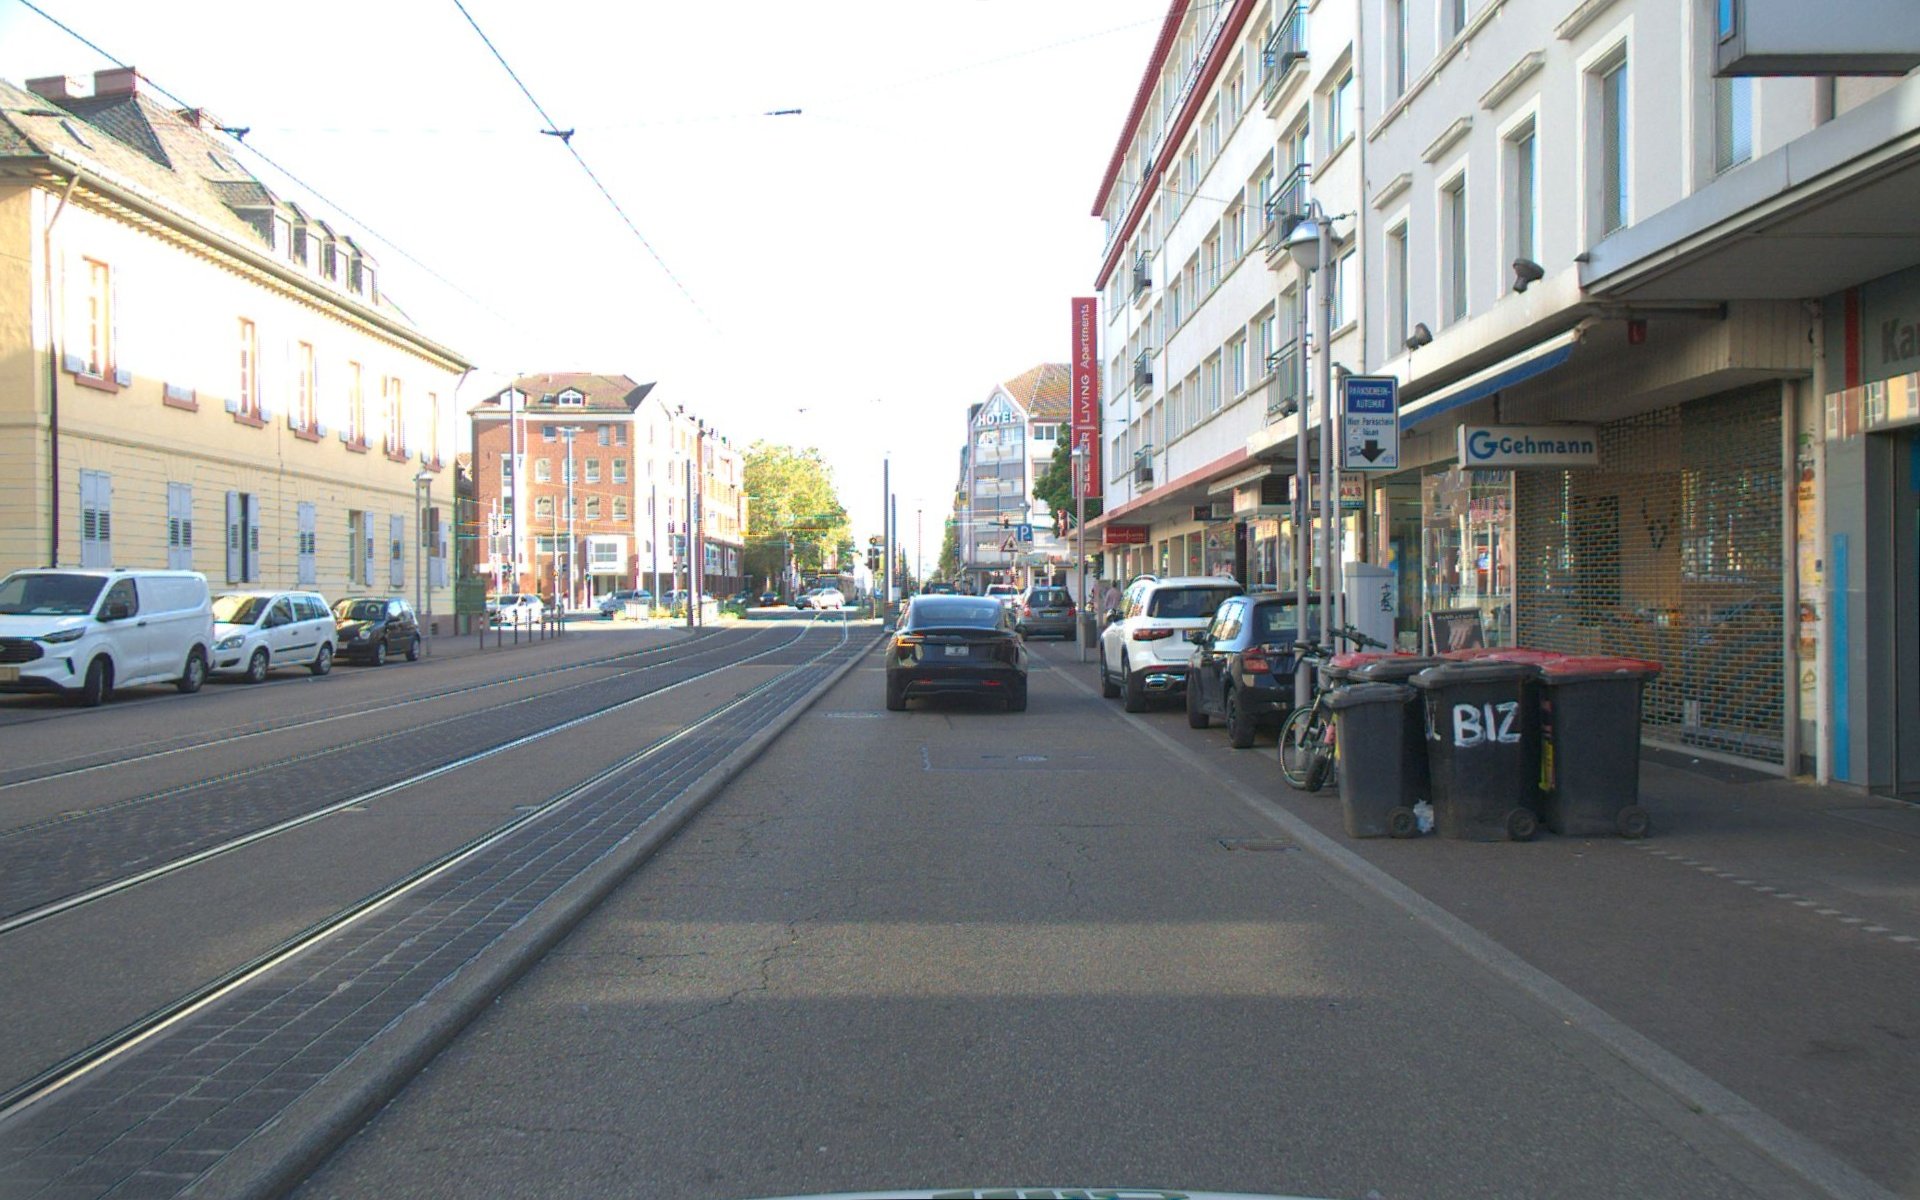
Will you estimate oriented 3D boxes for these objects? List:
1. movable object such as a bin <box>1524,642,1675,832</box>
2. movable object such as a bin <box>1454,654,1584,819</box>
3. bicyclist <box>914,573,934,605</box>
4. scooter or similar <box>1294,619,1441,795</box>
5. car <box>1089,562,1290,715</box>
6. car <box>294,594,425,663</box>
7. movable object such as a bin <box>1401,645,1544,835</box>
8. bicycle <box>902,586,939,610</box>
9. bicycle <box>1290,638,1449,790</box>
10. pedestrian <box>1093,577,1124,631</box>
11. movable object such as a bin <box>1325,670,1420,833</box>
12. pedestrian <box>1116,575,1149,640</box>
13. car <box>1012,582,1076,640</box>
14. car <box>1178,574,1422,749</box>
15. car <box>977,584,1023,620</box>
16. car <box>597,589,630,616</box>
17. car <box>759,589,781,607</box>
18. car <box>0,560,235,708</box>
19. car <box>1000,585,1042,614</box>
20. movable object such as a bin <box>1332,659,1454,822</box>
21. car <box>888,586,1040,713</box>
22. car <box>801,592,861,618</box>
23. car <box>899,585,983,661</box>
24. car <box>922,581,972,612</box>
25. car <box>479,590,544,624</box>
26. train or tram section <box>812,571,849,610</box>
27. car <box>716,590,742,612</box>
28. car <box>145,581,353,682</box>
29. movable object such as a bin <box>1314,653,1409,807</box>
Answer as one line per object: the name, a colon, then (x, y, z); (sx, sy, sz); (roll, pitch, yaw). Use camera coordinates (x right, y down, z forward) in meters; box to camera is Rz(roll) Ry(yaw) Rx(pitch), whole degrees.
movable object such as a bin: (3.956, 0.834, 10.274); (0.676, 1.108, 0.666); (-1, 0, 2)
movable object such as a bin: (3.712, 0.896, 11.027); (0.644, 1.032, 0.636); (-1, 0, 2)
bicyclist: (-1.720, -0.517, 78.696); (0.821, 1.526, 0.559); (2, 0, -9)
scooter or similar: (3.025, 0.786, 12.313); (0.973, 1.253, 0.319); (-2, 0, -3)
car: (2.935, 0.458, 22.286); (1.812, 1.754, 5.191); (-2, 0, -1)
car: (-13.294, 0.602, 36.834); (1.581, 1.425, 3.719); (2, 0, -1)
movable object such as a bin: (3.182, 0.854, 10.317); (0.676, 1.108, 0.686); (-1, 0, 2)
bicycle: (-1.879, -0.097, 78.582); (1.696, 1.107, 0.677); (2, 0, -9)
bicycle: (3.135, 0.866, 12.687); (1.108, 1.098, 0.319); (-2, 0, -3)
pedestrian: (4.778, 0.122, 53.205); (0.800, 1.712, 0.714); (1, 0, 22)
movable object such as a bin: (2.592, 0.946, 10.422); (0.477, 0.975, 0.458); (-1, 0, 2)
pedestrian: (4.907, 0.209, 47.024); (0.786, 1.805, 0.933); (-1, 0, 13)
car: (2.514, 0.299, 50.110); (1.709, 1.660, 3.648); (-2, 1, 0)
car: (3.366, 0.561, 17.108); (1.581, 1.555, 4.069); (-1, 0, -1)
car: (1.818, 0.082, 76.578); (1.748, 1.545, 4.215); (2, 0, -4)
car: (-20.989, 0.151, 100.149); (1.848, 1.521, 4.913); (-1, 0, -13)
car: (-18.681, -0.206, 162.594); (1.715, 1.680, 4.000); (2, 0, 0)
car: (-13.198, 0.458, 25.352); (1.953, 2.009, 5.095); (2, 0, -1)
car: (3.304, -0.028, 89.993); (1.789, 1.545, 3.645); (2, 0, -6)
movable object such as a bin: (2.889, 0.927, 11.067); (0.672, 1.032, 0.508); (-1, 0, 1)
car: (-0.007, 0.599, 21.919); (1.811, 1.510, 3.786); (1, 0, -2)
car: (-9.343, 0.343, 120.028); (3.959, 1.769, 1.973); (-1, 0, -38)
car: (-0.378, 0.441, 34.730); (1.619, 1.443, 4.000); (1, 1, 0)
car: (-0.709, -0.196, 88.974); (1.793, 1.545, 4.203); (2, 0, -13)
car: (-20.921, 0.330, 77.287); (1.864, 1.489, 4.000); (2, 0, 1)
train or tram section: (-13.174, -0.944, 169.362); (2.620, 3.780, 14.191); (1, 0, 0)
car: (-22.262, 0.088, 159.787); (1.953, 2.049, 3.999); (2, 0, -1)
car: (-13.278, 0.556, 31.219); (1.770, 1.715, 4.649); (2, 0, 2)
movable object such as a bin: (2.840, 0.909, 11.743); (0.511, 1.032, 0.671); (-1, 0, 2)
